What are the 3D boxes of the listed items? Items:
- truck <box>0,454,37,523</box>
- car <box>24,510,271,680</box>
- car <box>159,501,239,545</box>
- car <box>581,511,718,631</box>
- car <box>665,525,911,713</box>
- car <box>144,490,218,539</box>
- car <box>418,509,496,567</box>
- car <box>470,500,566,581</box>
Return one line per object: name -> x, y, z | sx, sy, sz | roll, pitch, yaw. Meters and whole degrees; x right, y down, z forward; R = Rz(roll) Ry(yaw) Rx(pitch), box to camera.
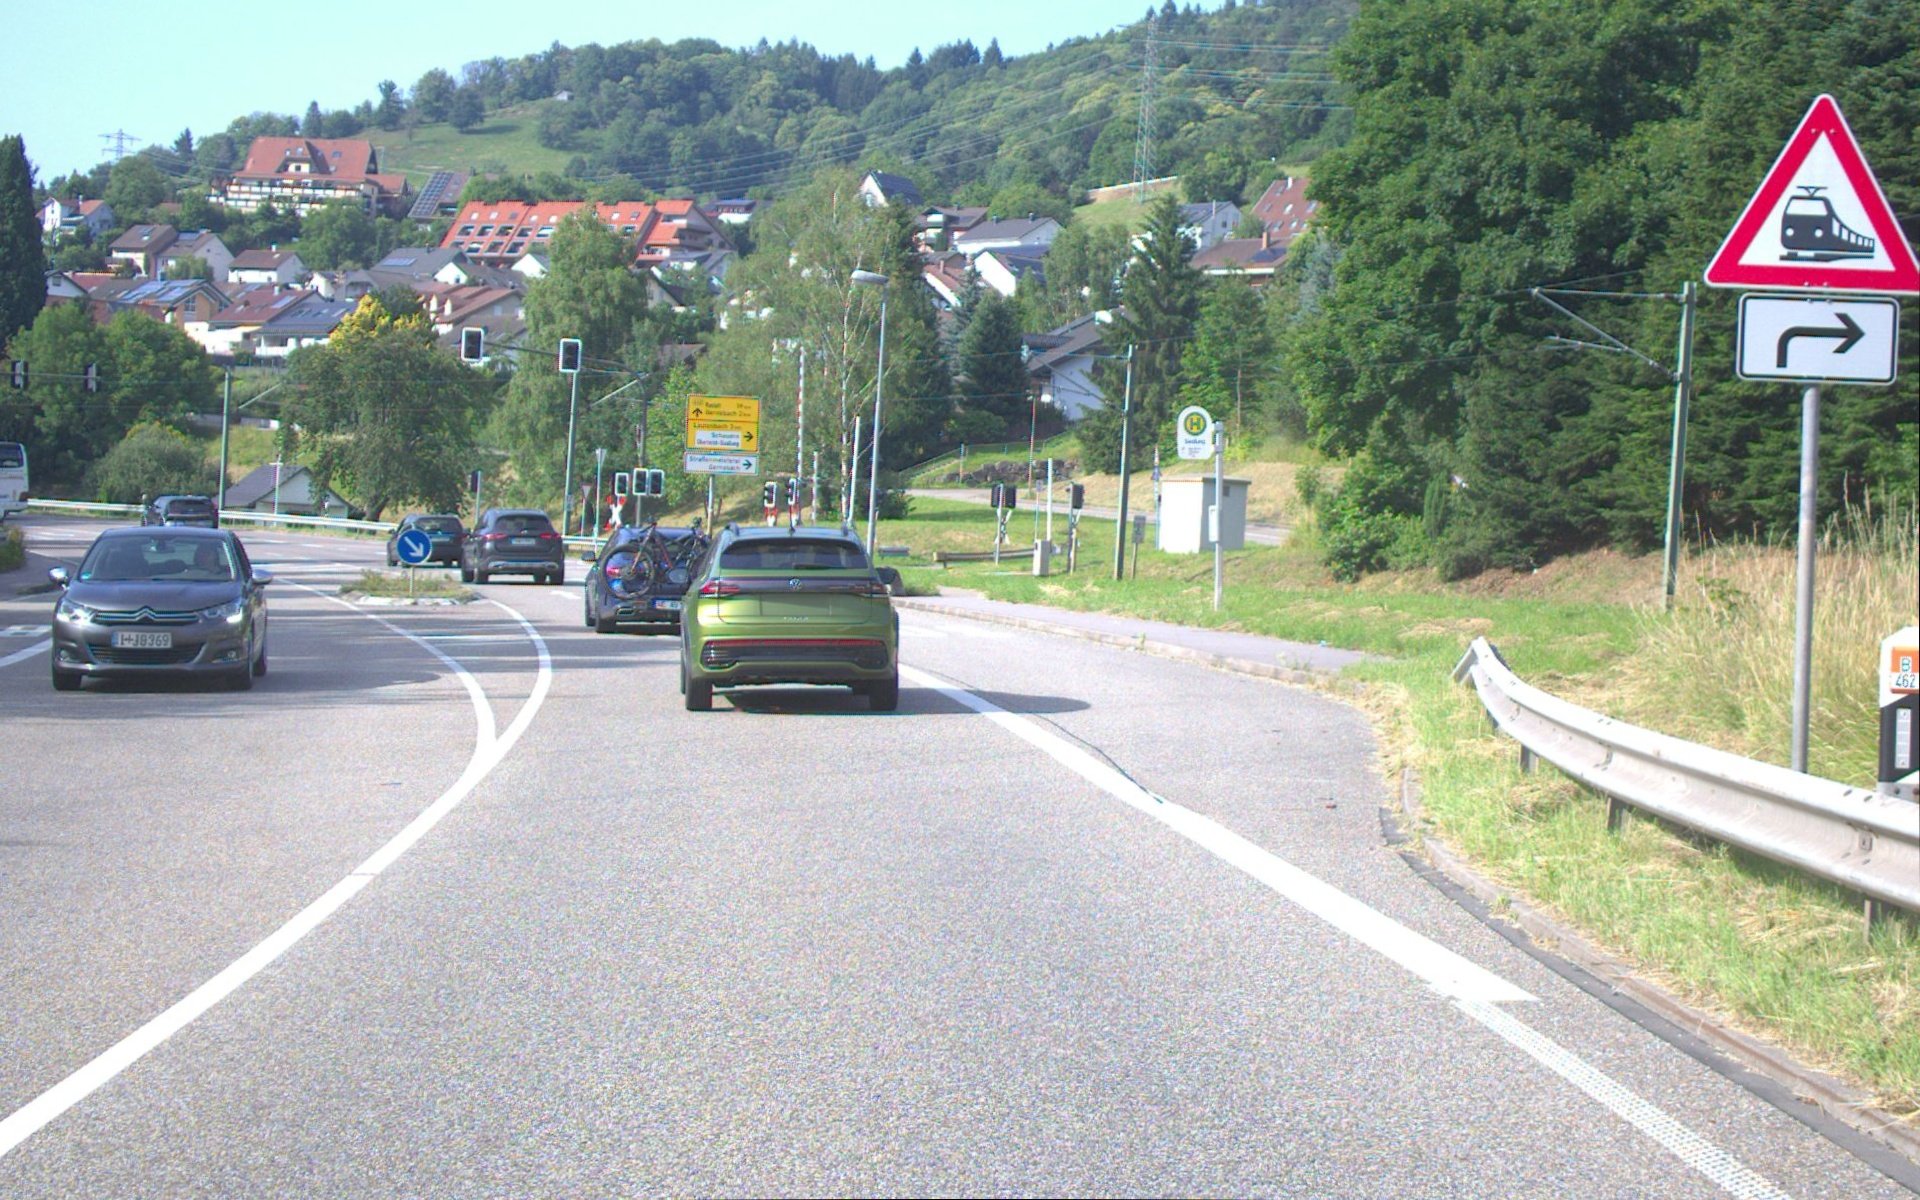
truck -> -45.380, -5.243, 159.752 | 2.712, 3.073, 6.108 | 1, 2, -36
car -> -7.533, -0.081, 32.202 | 1.890, 1.483, 4.001 | 0, 1, -8
car -> -32.230, -3.277, 145.584 | 1.993, 1.739, 4.000 | 1, 2, -33
car -> -4.268, -0.421, 46.892 | 1.667, 1.554, 4.001 | 1, 1, -8
car -> -1.514, 0.112, 28.935 | 1.714, 1.450, 4.001 | 0, 1, -8
car -> -30.024, -3.309, 132.366 | 2.063, 1.805, 4.001 | 0, 2, -23
car -> -13.640, -1.692, 93.132 | 1.848, 1.521, 3.663 | 0, 2, -12
car -> -9.732, -1.319, 75.481 | 1.879, 1.681, 4.001 | 1, 1, -10
